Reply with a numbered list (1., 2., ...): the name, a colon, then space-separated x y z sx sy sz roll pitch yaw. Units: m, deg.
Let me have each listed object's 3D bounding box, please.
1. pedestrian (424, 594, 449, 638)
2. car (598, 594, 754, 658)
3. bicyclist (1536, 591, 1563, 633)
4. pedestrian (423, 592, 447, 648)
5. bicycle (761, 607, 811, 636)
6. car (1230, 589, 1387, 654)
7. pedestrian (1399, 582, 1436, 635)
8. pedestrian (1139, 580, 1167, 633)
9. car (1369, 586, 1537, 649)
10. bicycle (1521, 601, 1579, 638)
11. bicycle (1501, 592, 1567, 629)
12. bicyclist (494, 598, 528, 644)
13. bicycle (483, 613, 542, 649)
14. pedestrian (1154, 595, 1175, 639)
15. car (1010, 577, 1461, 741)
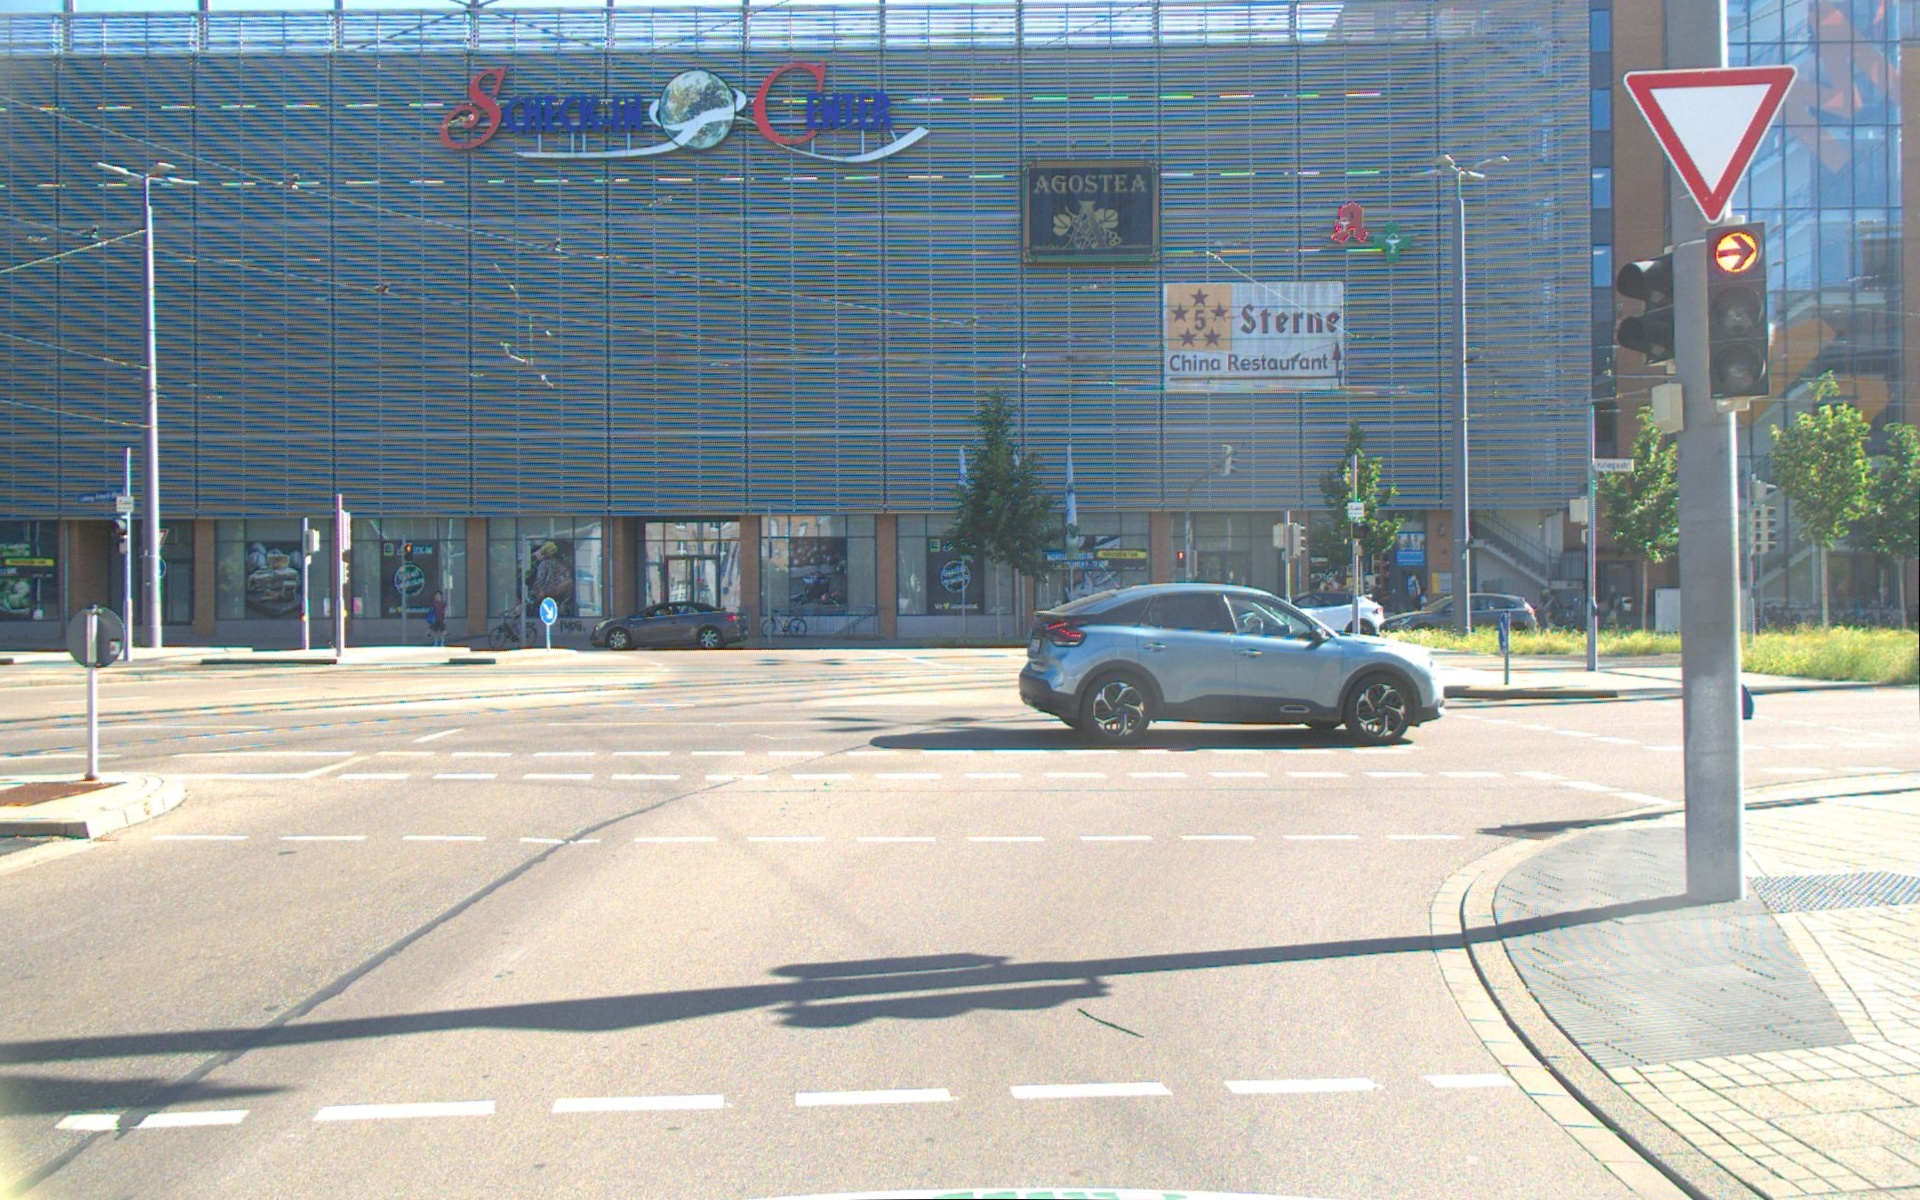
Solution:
1. pedestrian: -19.465 0.585 61.477 0.646 1.629 0.594 1 -1 18
2. car: -8.322 0.764 48.756 4.203 1.611 1.840 3 -1 -2
3. bicyclist: 20.471 0.415 57.415 0.738 1.410 0.565 -1 1 -1
4. pedestrian: -17.338 0.664 54.665 0.683 1.829 0.727 -2 0 -17
5. bicycle: -6.365 0.779 60.429 1.783 1.006 0.556 0 1 -11
6. car: 10.296 0.644 49.076 4.238 1.895 1.840 0 -1 -2
7. pedestrian: 16.251 0.296 58.758 0.991 1.860 1.036 -2 0 3
8. pedestrian: 6.962 0.244 59.629 0.930 1.860 0.846 -2 -4 5
9. car: 13.670 0.495 46.043 4.063 1.495 1.840 3 -1 -2
10. bicycle: 20.493 0.669 57.420 1.819 1.238 0.569 -1 1 -2
11. bicycle: 21.289 0.388 61.348 2.209 1.318 0.605 1 -1 -2
12. bicyclist: -14.799 0.691 54.541 0.663 1.452 0.844 0 2 42
13. bicycle: -14.767 1.008 54.616 0.559 1.105 1.852 0 2 42
14. pedestrian: 6.857 0.576 55.360 0.641 1.438 0.850 1 0 10
15. car: 2.707 0.572 16.686 4.184 1.540 1.706 1 0 -8
